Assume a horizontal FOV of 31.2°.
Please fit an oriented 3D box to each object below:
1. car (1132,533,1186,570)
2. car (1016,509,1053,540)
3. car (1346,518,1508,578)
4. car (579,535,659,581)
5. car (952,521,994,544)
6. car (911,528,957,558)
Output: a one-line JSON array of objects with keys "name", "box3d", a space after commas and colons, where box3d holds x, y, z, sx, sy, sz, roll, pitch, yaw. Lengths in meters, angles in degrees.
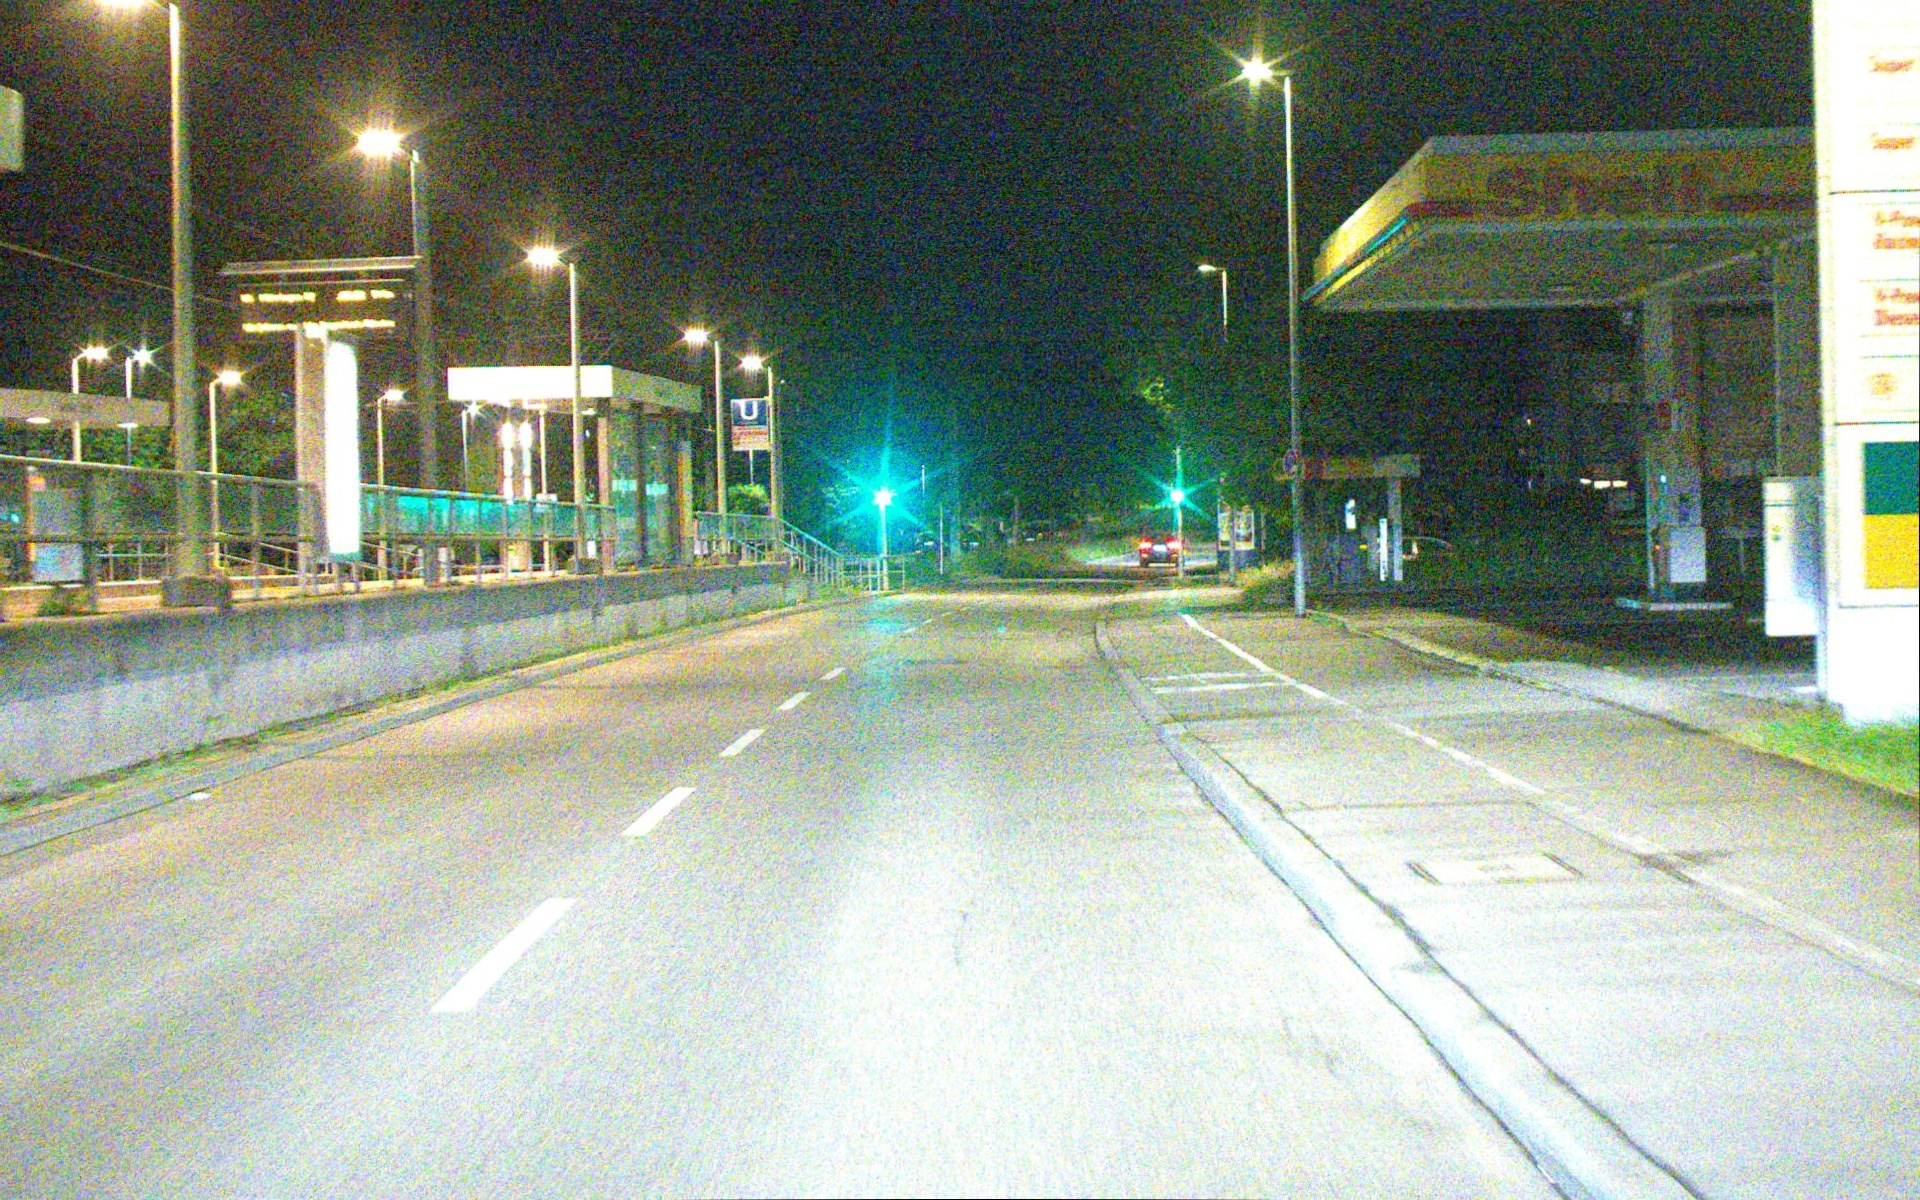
[{"name": "car", "box3d": [8.731, -2.143, 150.402, 2.162, 1.577, 4.012, 0, 1, 6]}, {"name": "car", "box3d": [5.276, -5.375, 244.106, 2.092, 2.006, 3.999, -5, 1, 7]}, {"name": "car", "box3d": [11.275, -1.262, 83.178, 3.765, 1.349, 1.859, -1, 1, 5]}, {"name": "car", "box3d": [-11.206, -1.396, 113.161, 1.646, 1.335, 4.542, -5, 1, 6]}, {"name": "car", "box3d": [0.832, -4.205, 213.826, 1.994, 1.333, 5.431, -1, 1, 7]}, {"name": "car", "box3d": [-1.452, -3.219, 194.392, 1.994, 1.622, 4.676, -1, 1, 7]}]
